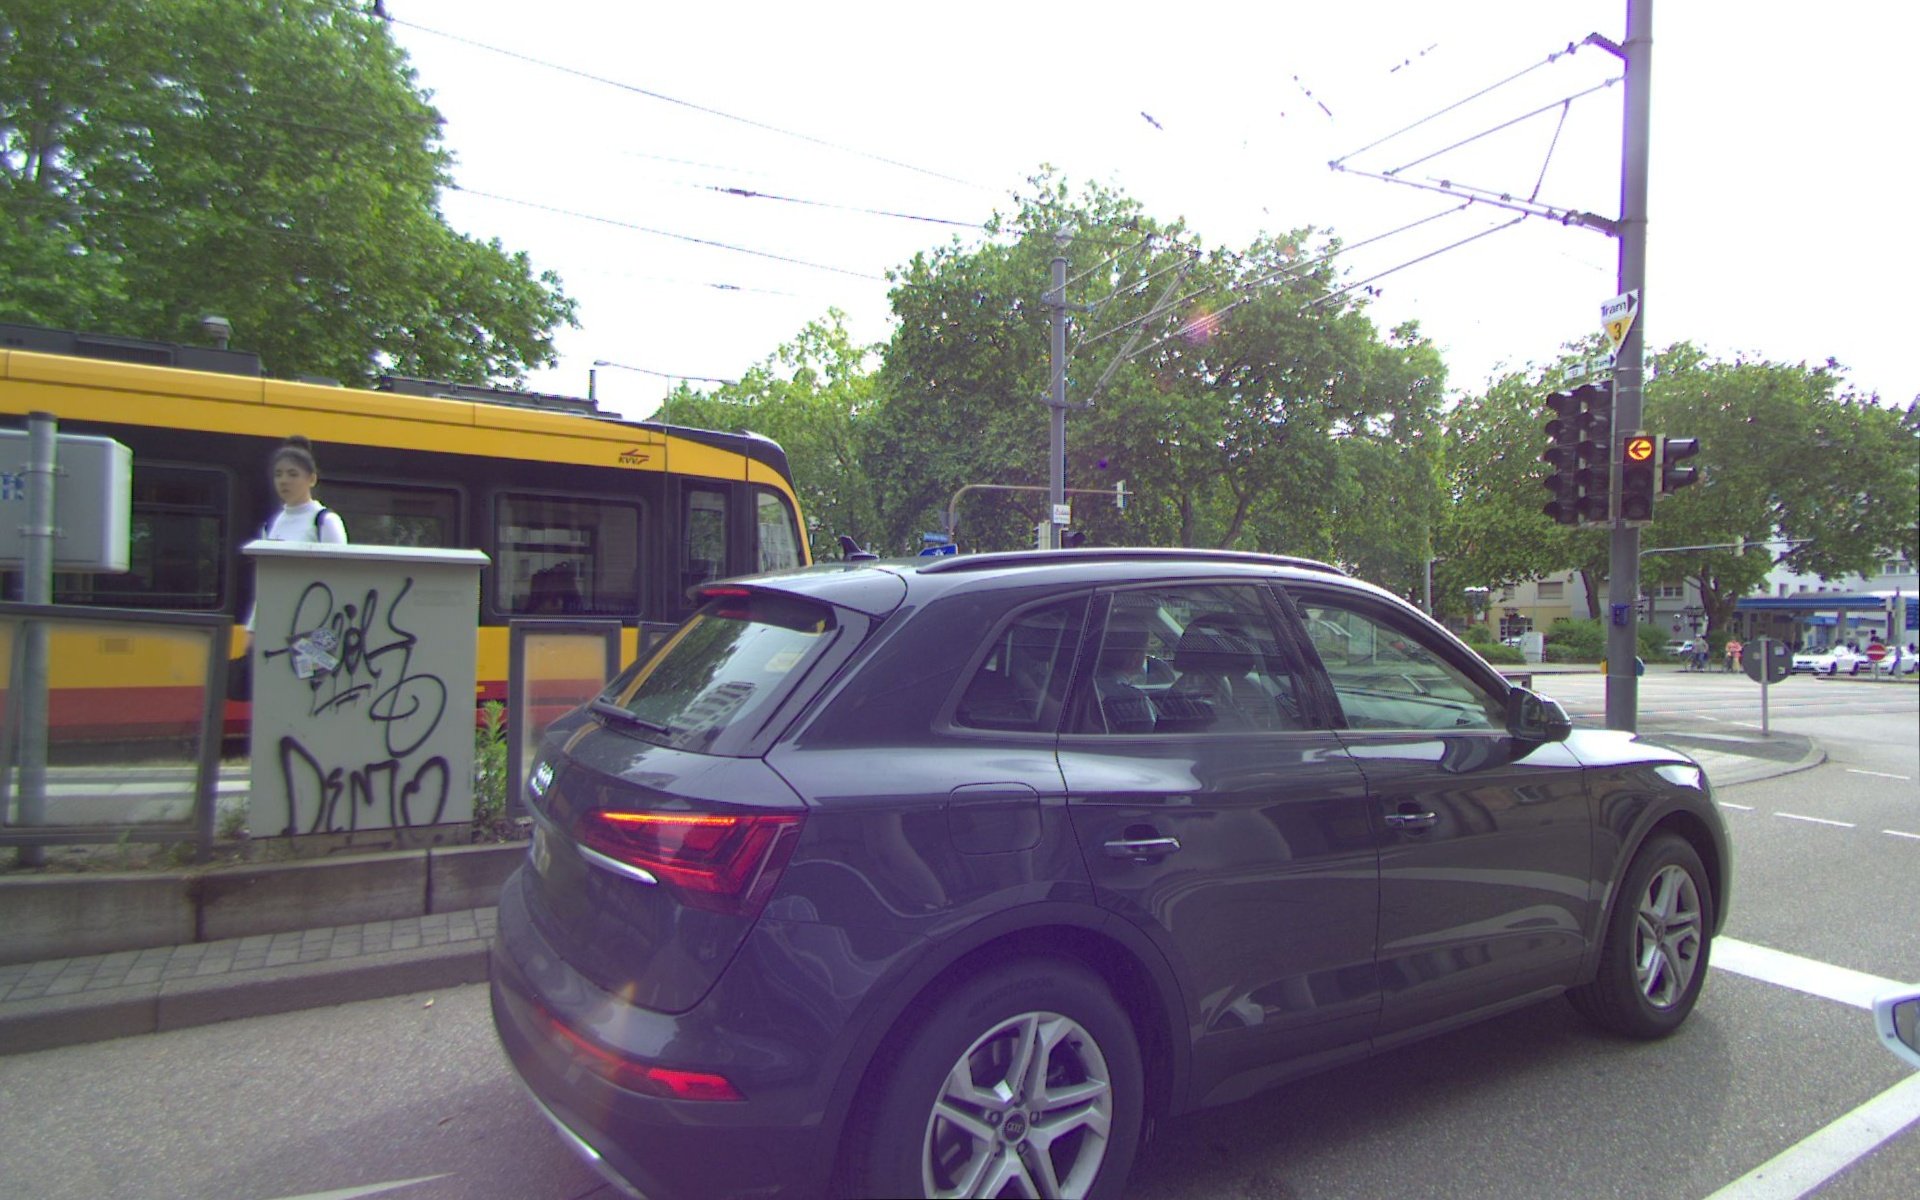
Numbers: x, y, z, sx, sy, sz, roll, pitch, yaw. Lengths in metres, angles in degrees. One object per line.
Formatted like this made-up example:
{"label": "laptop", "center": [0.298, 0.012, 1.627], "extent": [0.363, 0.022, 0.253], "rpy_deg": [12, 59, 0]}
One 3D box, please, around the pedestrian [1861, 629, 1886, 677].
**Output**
{"label": "pedestrian", "center": [35.486, 2.057, 39.018], "extent": [0.513, 1.818, 0.569], "rpy_deg": [2, 0, -34]}

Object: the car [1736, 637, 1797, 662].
{"label": "car", "center": [54.728, 3.365, 68.162], "extent": [3.954, 1.550, 1.984], "rpy_deg": [2, 0, -30]}

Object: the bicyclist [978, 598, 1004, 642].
{"label": "bicyclist", "center": [1.325, 0.865, 43.235], "extent": [0.951, 1.843, 0.531], "rpy_deg": [2, 0, 32]}

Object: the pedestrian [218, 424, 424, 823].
{"label": "pedestrian", "center": [-2.983, 0.106, 4.753], "extent": [0.722, 1.683, 0.750], "rpy_deg": [2, 0, -30]}

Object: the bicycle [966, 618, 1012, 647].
{"label": "bicycle", "center": [1.252, 1.378, 43.265], "extent": [1.873, 1.158, 0.627], "rpy_deg": [2, 0, 32]}

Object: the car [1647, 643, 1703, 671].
{"label": "car", "center": [45.202, 3.585, 63.514], "extent": [3.802, 1.578, 1.879], "rpy_deg": [2, 0, -38]}

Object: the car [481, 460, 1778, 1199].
{"label": "car", "center": [0.800, 0.655, 3.525], "extent": [4.308, 1.622, 1.870], "rpy_deg": [2, -1, -31]}

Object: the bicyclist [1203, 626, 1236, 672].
{"label": "bicyclist", "center": [10.172, 1.908, 39.350], "extent": [1.026, 1.706, 0.641], "rpy_deg": [2, 0, 41]}

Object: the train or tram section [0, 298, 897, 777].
{"label": "train or tram section", "center": [-8.256, -0.496, 8.835], "extent": [15.665, 3.636, 3.045], "rpy_deg": [2, 0, -31]}

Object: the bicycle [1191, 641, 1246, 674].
{"label": "bicycle", "center": [10.127, 2.243, 39.379], "extent": [1.914, 1.151, 0.732], "rpy_deg": [2, 0, 40]}

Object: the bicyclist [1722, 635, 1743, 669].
{"label": "bicyclist", "center": [37.249, 2.505, 48.416], "extent": [0.611, 1.588, 0.585], "rpy_deg": [2, 0, -30]}

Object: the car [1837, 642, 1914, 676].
{"label": "car", "center": [46.883, 3.027, 51.423], "extent": [3.792, 1.578, 1.885], "rpy_deg": [2, 0, -30]}

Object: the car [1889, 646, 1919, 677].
{"label": "car", "center": [52.761, 3.386, 54.901], "extent": [3.792, 1.578, 1.885], "rpy_deg": [2, 0, -30]}

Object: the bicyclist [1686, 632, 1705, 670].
{"label": "bicyclist", "center": [35.896, 2.471, 49.042], "extent": [0.461, 1.808, 0.534], "rpy_deg": [2, 0, -10]}

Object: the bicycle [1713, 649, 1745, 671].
{"label": "bicycle", "center": [36.971, 2.892, 48.259], "extent": [1.914, 1.031, 0.519], "rpy_deg": [2, 0, -30]}

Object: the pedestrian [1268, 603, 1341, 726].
{"label": "pedestrian", "center": [4.965, 0.909, 14.515], "extent": [0.851, 1.702, 0.673], "rpy_deg": [2, 0, 9]}

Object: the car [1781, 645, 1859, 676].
{"label": "car", "center": [41.370, 2.887, 48.305], "extent": [3.954, 1.343, 1.626], "rpy_deg": [2, 0, -31]}

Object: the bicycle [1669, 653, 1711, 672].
{"label": "bicycle", "center": [35.742, 3.050, 49.202], "extent": [0.644, 0.783, 1.682], "rpy_deg": [2, 0, -9]}
